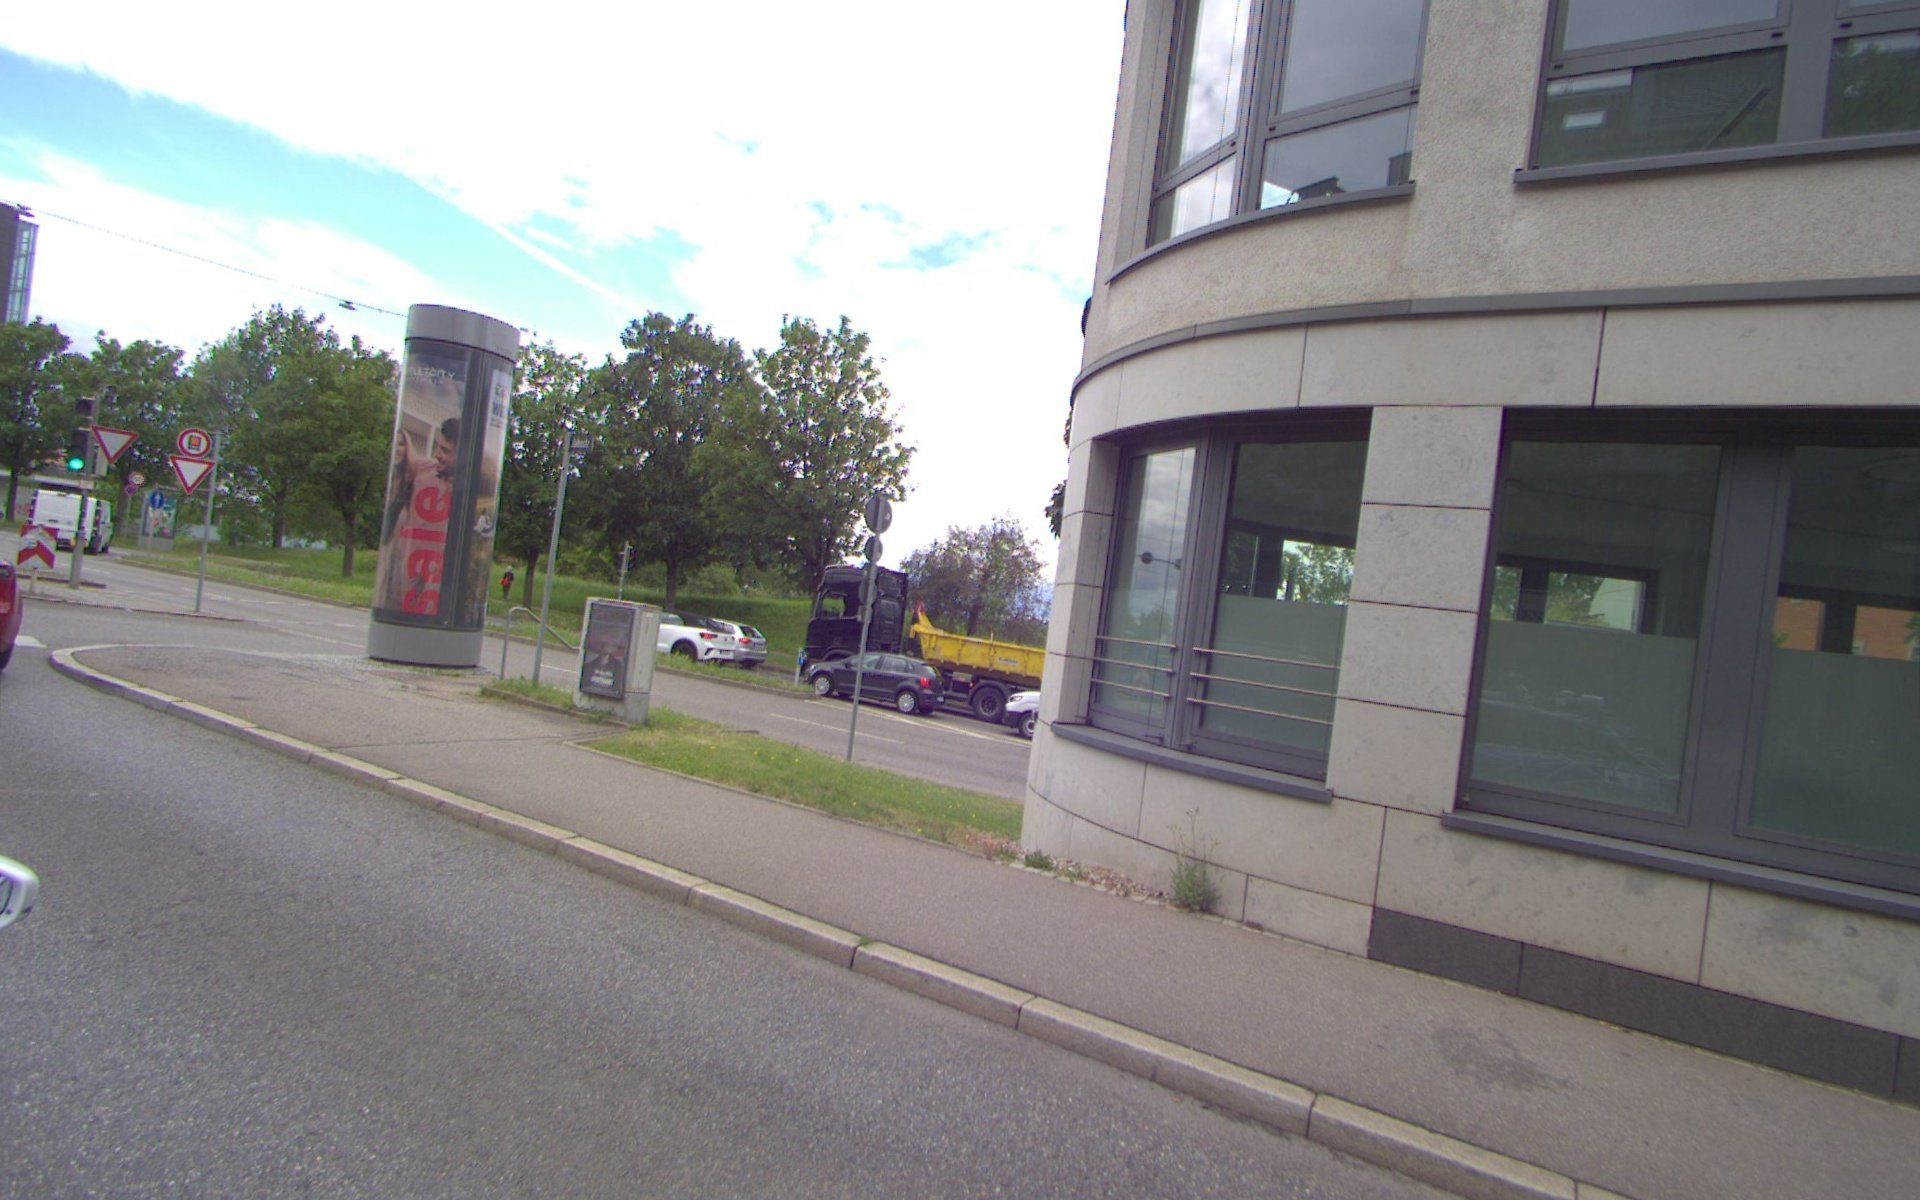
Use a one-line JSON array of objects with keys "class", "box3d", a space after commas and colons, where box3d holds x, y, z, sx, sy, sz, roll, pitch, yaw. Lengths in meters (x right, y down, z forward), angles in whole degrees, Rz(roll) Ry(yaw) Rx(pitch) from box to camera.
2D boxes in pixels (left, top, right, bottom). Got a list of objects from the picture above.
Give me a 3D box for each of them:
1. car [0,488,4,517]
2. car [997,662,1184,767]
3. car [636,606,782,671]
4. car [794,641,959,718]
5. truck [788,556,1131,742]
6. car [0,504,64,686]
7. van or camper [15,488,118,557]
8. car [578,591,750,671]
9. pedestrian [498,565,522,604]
[{"class": "car", "box3d": [-22.540, -1.767, 21.796, 1.894, 1.880, 4.663, 10, -3, -36]}, {"class": "car", "box3d": [3.267, 2.791, 25.011, 4.206, 1.817, 1.758, 9, -2, 17]}, {"class": "car", "box3d": [-8.186, 1.261, 32.937, 4.081, 1.458, 1.992, 8, -2, 19]}, {"class": "car", "box3d": [-2.219, 2.111, 26.890, 3.903, 1.389, 1.656, 8, -2, 19]}, {"class": "truck", "box3d": [-0.037, 1.365, 29.722, 9.280, 3.969, 2.832, 8, -2, 18]}, {"class": "car", "box3d": [-9.785, -0.329, 8.692, 4.370, 1.434, 1.877, 7, -3, 33]}, {"class": "van or camper", "box3d": [-31.060, -2.683, 35.119, 1.983, 1.940, 4.366, 9, -1, -35]}, {"class": "car", "box3d": [-8.640, 0.918, 29.370, 4.404, 1.547, 1.858, 9, -2, 19]}, {"class": "pedestrian", "box3d": [-19.806, -0.662, 44.287, 0.690, 1.626, 0.541, 9, 5, 30]}]
